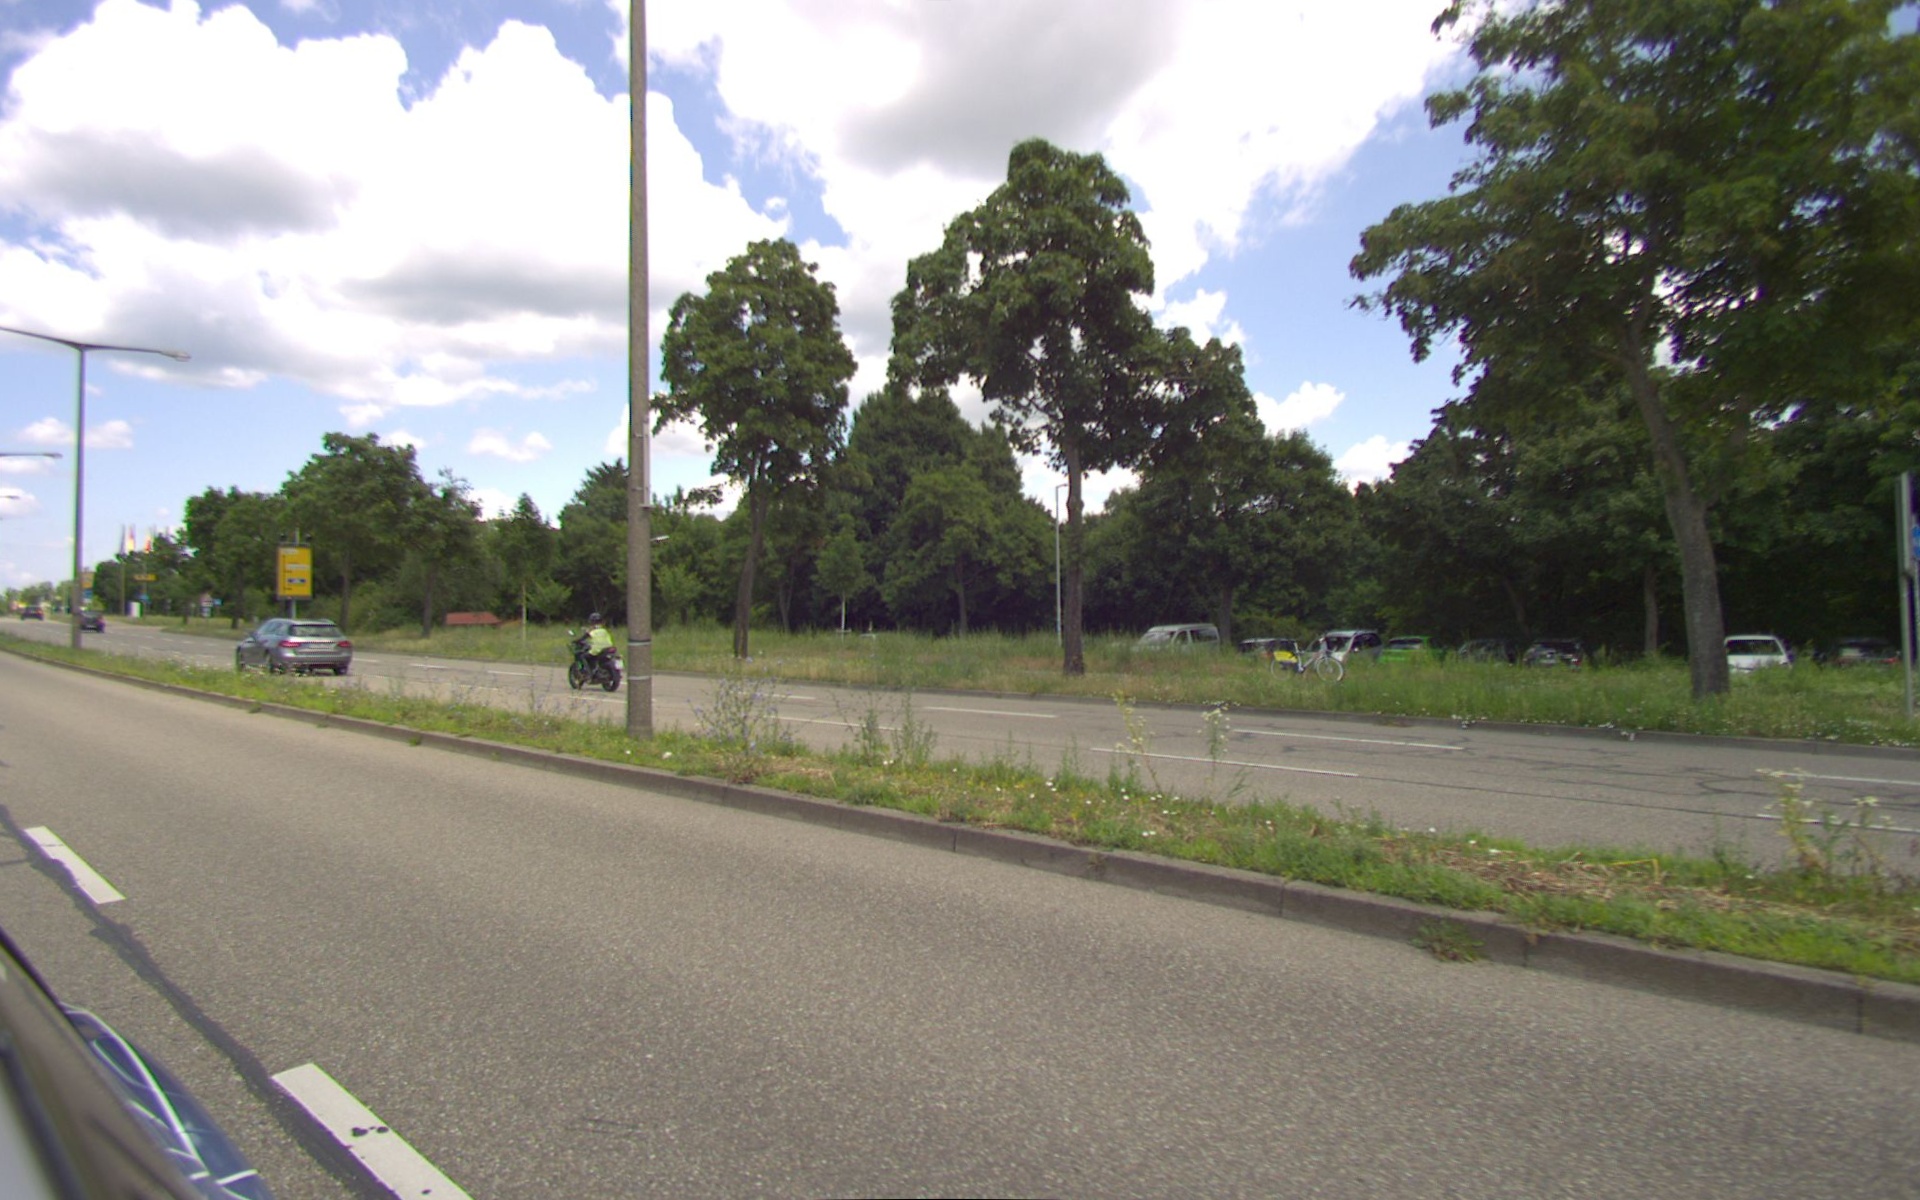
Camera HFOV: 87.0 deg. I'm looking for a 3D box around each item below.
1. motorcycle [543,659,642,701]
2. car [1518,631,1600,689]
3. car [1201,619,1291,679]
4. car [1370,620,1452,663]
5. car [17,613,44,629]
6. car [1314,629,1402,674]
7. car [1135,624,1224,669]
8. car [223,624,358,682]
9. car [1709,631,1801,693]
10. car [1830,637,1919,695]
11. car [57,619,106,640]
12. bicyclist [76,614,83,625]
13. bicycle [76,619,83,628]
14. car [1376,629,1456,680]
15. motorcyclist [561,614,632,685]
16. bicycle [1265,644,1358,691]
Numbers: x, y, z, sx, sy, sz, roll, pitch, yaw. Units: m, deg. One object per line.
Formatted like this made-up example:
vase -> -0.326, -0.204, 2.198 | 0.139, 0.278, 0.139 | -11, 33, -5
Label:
motorcycle -> -7.673, 1.638, 21.069 | 2.670, 0.778, 0.744 | -2, -1, 41
car -> 18.848, 1.822, 31.790 | 1.693, 1.570, 3.949 | -2, -1, 38
car -> 10.855, 1.811, 38.223 | 1.996, 2.029, 3.951 | -2, -1, 36
car -> 17.906, 1.616, 40.084 | 1.998, 1.530, 3.948 | -2, -1, 39
car -> -110.711, 2.509, 120.564 | 4.727, 1.804, 1.856 | 0, -3, 42
car -> 14.443, 1.840, 36.624 | 1.996, 1.423, 3.951 | -2, -1, 36
car -> 9.035, 1.890, 41.511 | 1.998, 1.637, 3.948 | -2, -1, 39
car -> -17.778, 1.370, 26.782 | 4.731, 1.409, 1.792 | -2, -3, 41
car -> 22.623, 1.698, 28.748 | 1.785, 1.519, 3.744 | -2, -1, 42
car -> 24.406, 1.703, 26.919 | 1.785, 1.277, 3.744 | -2, -1, 42
car -> -63.817, 2.117, 73.504 | 3.663, 1.438, 1.688 | 0, -1, 33
bicyclist -> -109.488, 2.391, 125.816 | 1.106, 1.282, 0.515 | -2, -1, 41
bicycle -> -109.519, 2.908, 125.861 | 1.907, 1.076, 0.427 | -2, -1, 42
car -> 15.815, 1.841, 35.033 | 1.693, 1.550, 3.546 | -2, -1, 38
motorcyclist -> -7.612, 1.018, 21.177 | 1.328, 1.425, 0.818 | -2, -1, 41
bicycle -> 7.943, 1.504, 22.919 | 1.916, 0.985, 0.561 | -1, -2, 41
